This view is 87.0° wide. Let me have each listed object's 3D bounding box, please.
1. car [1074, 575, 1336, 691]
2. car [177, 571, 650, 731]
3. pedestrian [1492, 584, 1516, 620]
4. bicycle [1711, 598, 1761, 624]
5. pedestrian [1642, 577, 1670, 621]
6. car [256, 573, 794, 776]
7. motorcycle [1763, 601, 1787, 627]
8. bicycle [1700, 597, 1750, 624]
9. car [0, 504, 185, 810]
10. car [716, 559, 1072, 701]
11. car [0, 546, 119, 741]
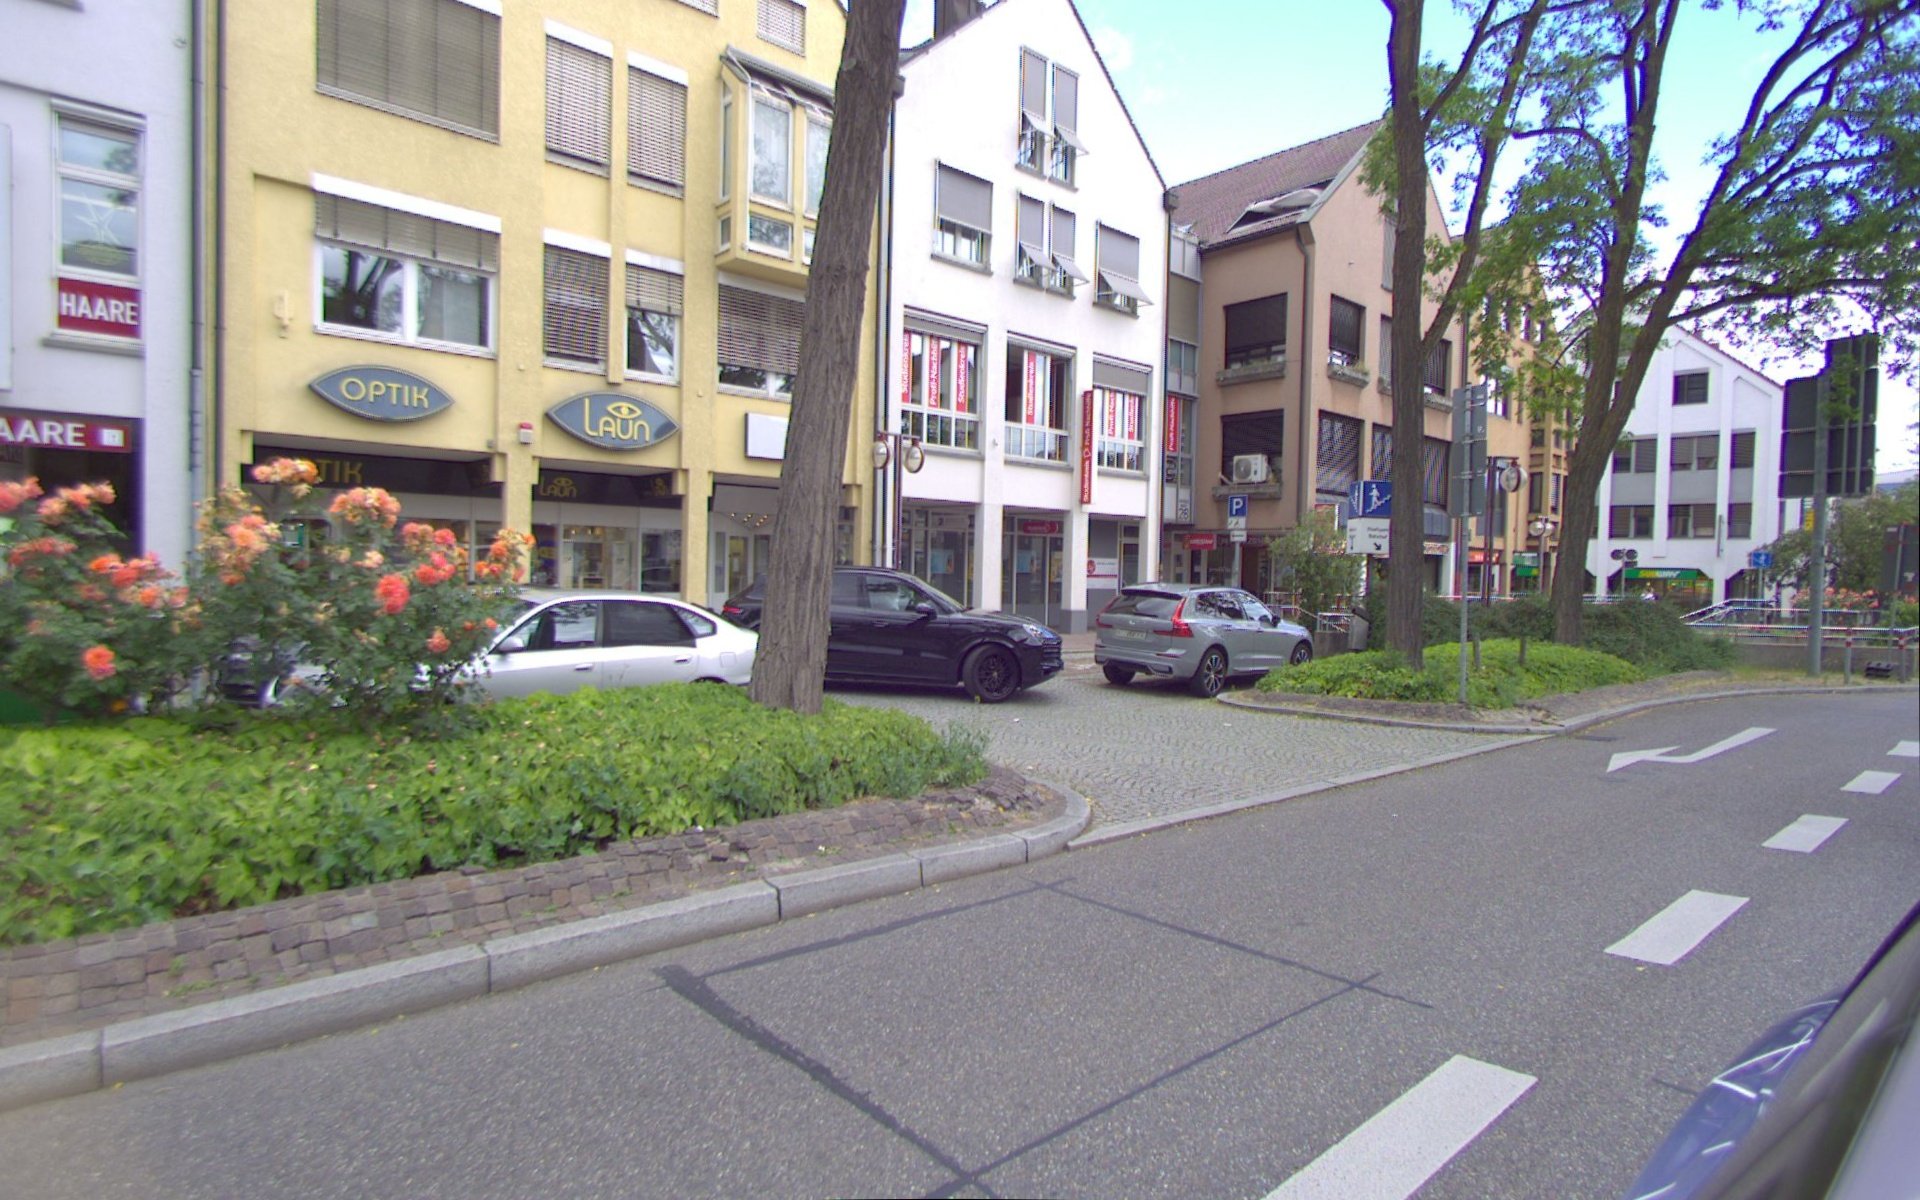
[{"bbox_3d":[4.166,0.449,16.698,4.685,1.615,1.995,0,2,-44],"label":"car"},{"bbox_3d":[-6.001,0.447,11.419,4.344,1.393,2.000,0,3,-43],"label":"car"},{"bbox_3d":[27.678,0.094,51.482,0.882,1.779,0.931,2,1,38],"label":"pedestrian"},{"bbox_3d":[31.562,0.436,41.174,1.583,0.981,0.455,2,1,36],"label":"bicycle"},{"bbox_3d":[29.489,-0.038,42.879,0.772,1.846,0.869,0,0,-45],"label":"pedestrian"},{"bbox_3d":[-3.894,0.530,9.564,4.344,1.468,1.765,0,2,-43],"label":"car"},{"bbox_3d":[35.403,0.589,43.939,1.961,1.081,0.464,0,1,-41],"label":"motorcycle"},{"bbox_3d":[30.827,0.427,40.801,1.584,1.014,0.409,2,1,37],"label":"bicycle"},{"bbox_3d":[-7.559,0.304,6.027,4.528,1.899,1.883,0,3,-43],"label":"car"},{"bbox_3d":[-0.870,0.352,14.084,4.575,1.691,1.859,2,2,0],"label":"car"},{"bbox_3d":[-9.441,0.323,7.919,4.320,1.561,1.799,0,3,-43],"label":"car"}]
